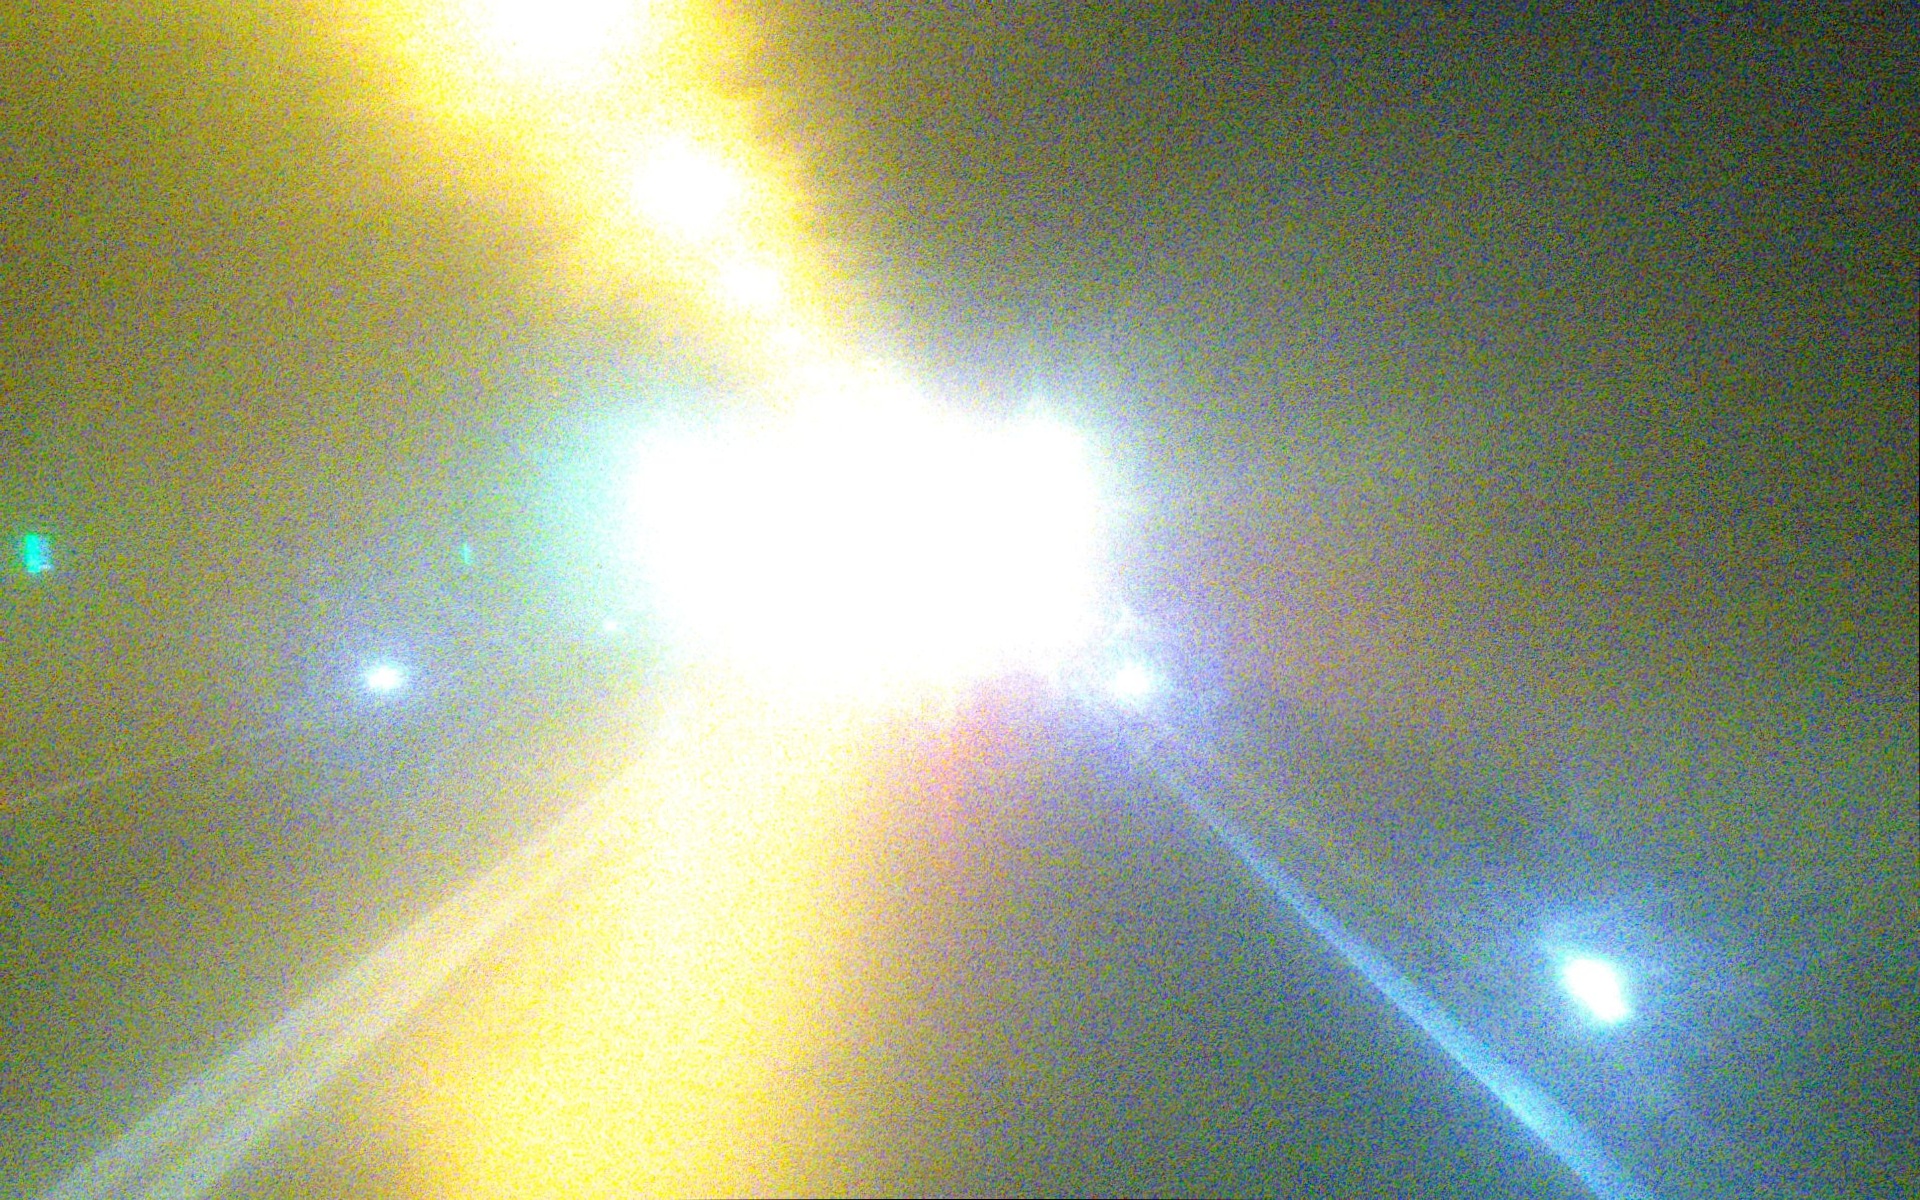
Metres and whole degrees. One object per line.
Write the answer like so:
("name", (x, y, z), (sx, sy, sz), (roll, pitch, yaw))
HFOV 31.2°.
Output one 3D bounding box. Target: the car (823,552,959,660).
("car", (-1.109, 0.080, 55.276), (2.089, 1.656, 4.000), (1, 0, -1))
